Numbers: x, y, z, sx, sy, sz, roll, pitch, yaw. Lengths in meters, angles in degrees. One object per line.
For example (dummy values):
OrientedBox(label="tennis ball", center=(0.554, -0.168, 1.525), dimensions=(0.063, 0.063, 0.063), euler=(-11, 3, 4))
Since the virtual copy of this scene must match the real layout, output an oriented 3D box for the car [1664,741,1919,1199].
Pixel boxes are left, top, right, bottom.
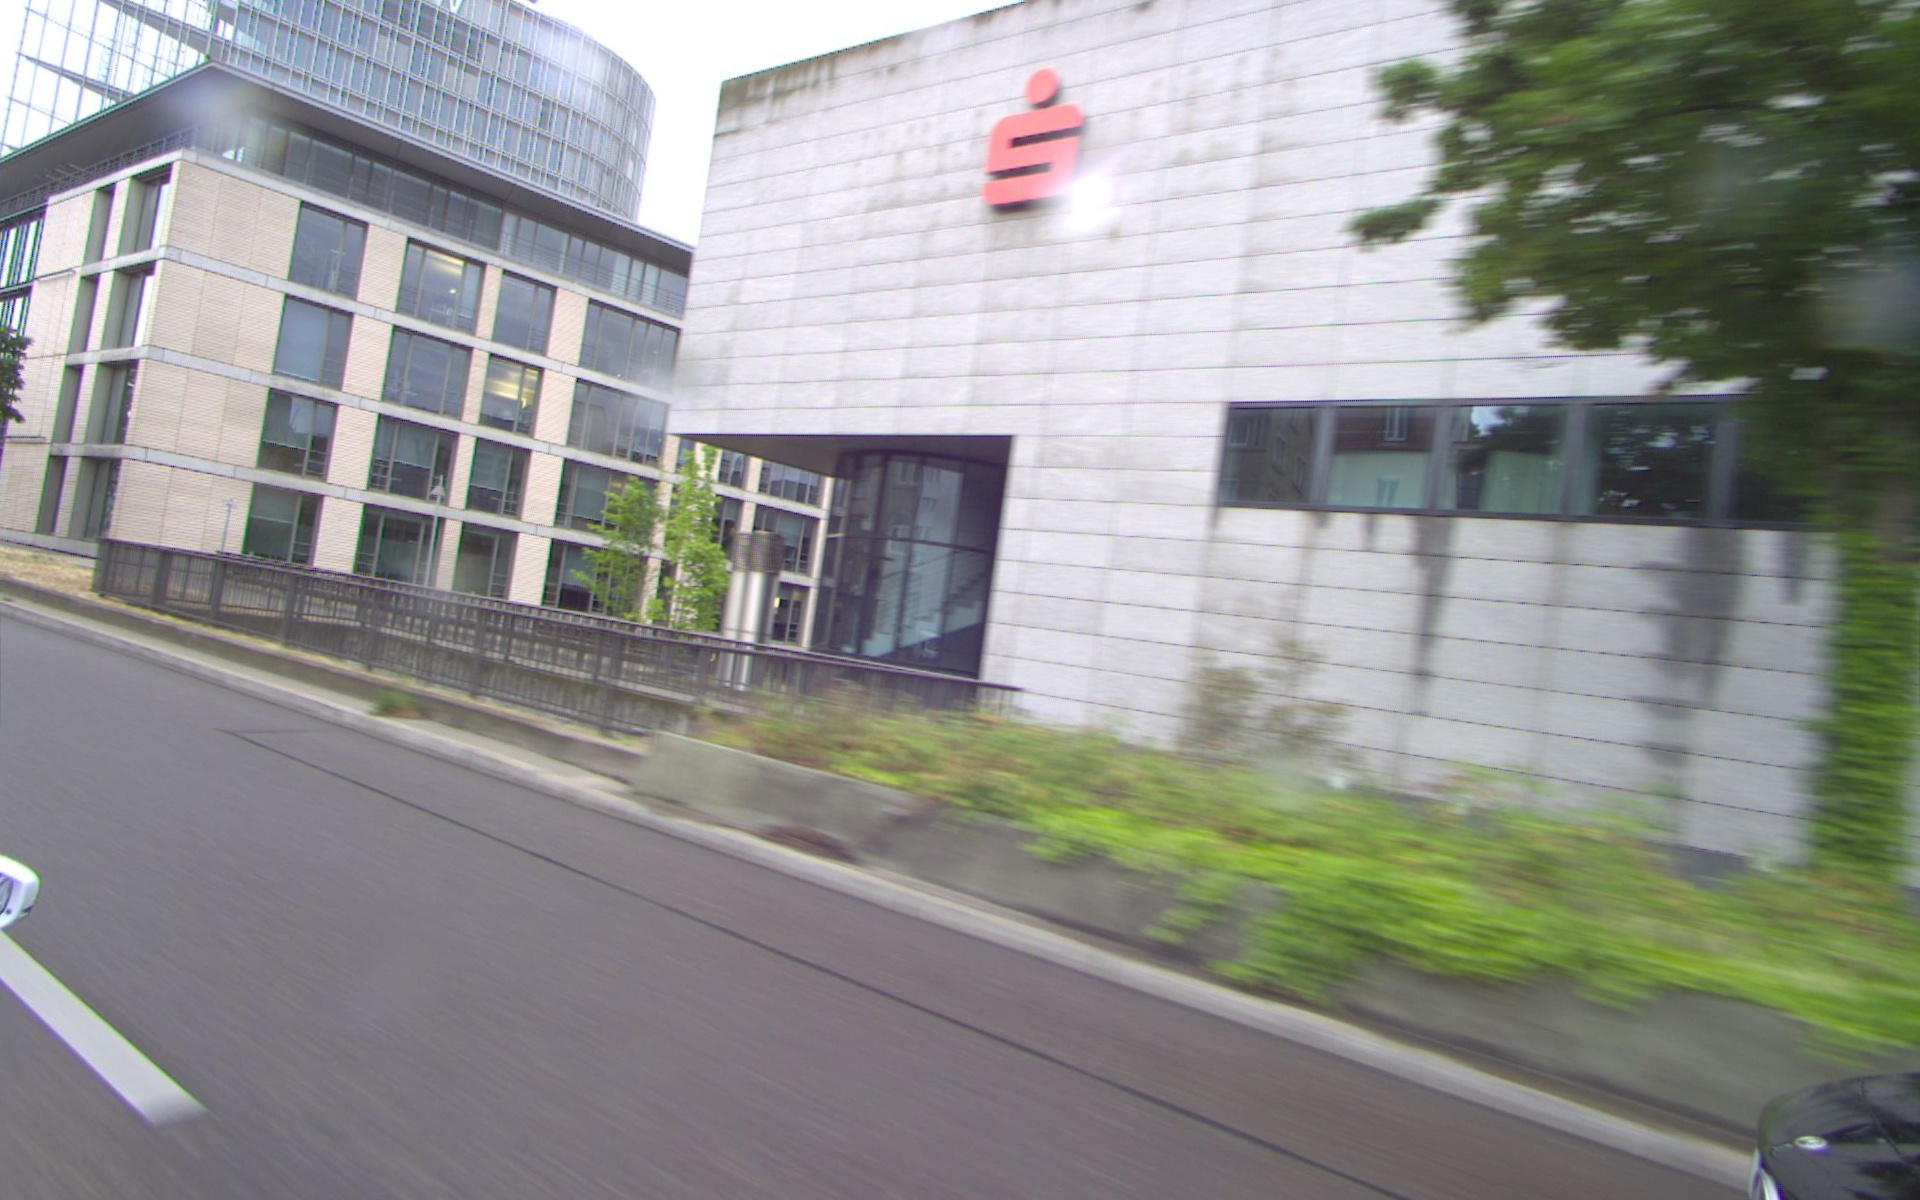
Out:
OrientedBox(label="car", center=(3.461, 1.304, 1.109), dimensions=(4.135, 1.453, 1.877), euler=(9, -1, 32))
